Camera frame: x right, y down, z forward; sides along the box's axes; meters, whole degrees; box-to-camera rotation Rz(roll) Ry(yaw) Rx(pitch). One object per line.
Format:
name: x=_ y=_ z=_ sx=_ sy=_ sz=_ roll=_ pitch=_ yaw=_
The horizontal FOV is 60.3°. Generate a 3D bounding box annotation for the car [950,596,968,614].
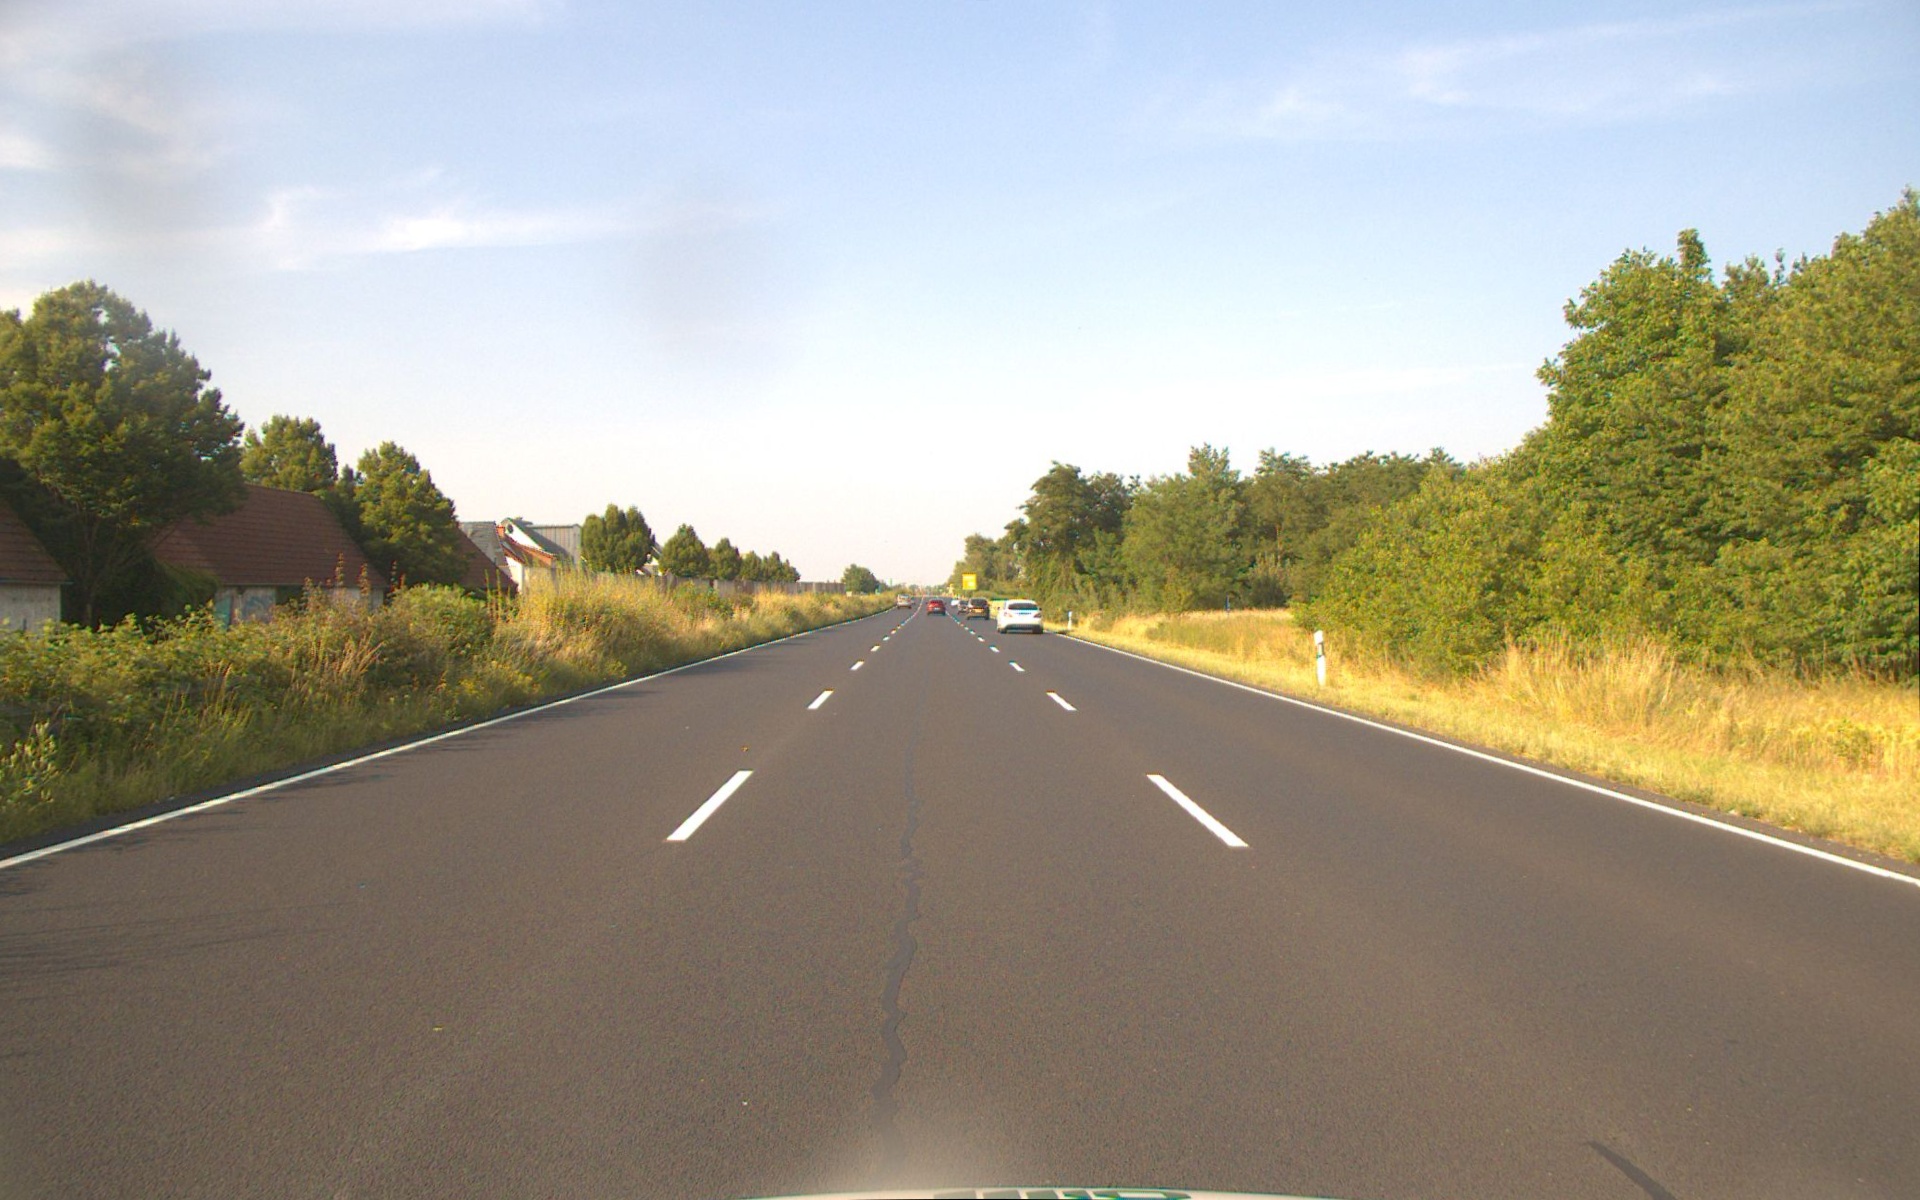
car: x=-0.100 y=0.519 z=169.720 sx=1.797 sy=1.747 sz=3.861 roll=1 pitch=-1 yaw=-1

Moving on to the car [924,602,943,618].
car: x=-2.515 y=0.936 z=157.004 sx=1.775 sy=1.461 sz=3.856 roll=1 pitch=-1 yaw=-2

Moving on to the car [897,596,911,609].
car: x=-7.370 y=0.318 z=218.560 sx=1.722 sy=1.646 sz=4.000 roll=1 pitch=-1 yaw=0

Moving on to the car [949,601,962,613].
car: x=-0.668 y=0.994 z=238.296 sx=1.809 sy=1.780 sz=3.999 roll=1 pitch=-1 yaw=-1

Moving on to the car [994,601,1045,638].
car: x=2.536 y=0.829 z=71.602 sx=1.953 sy=1.543 sz=3.999 roll=1 pitch=-1 yaw=-1

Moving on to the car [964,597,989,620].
car: x=1.245 y=0.644 z=128.122 sx=1.791 sy=1.758 sz=3.998 roll=1 pitch=-1 yaw=-2
